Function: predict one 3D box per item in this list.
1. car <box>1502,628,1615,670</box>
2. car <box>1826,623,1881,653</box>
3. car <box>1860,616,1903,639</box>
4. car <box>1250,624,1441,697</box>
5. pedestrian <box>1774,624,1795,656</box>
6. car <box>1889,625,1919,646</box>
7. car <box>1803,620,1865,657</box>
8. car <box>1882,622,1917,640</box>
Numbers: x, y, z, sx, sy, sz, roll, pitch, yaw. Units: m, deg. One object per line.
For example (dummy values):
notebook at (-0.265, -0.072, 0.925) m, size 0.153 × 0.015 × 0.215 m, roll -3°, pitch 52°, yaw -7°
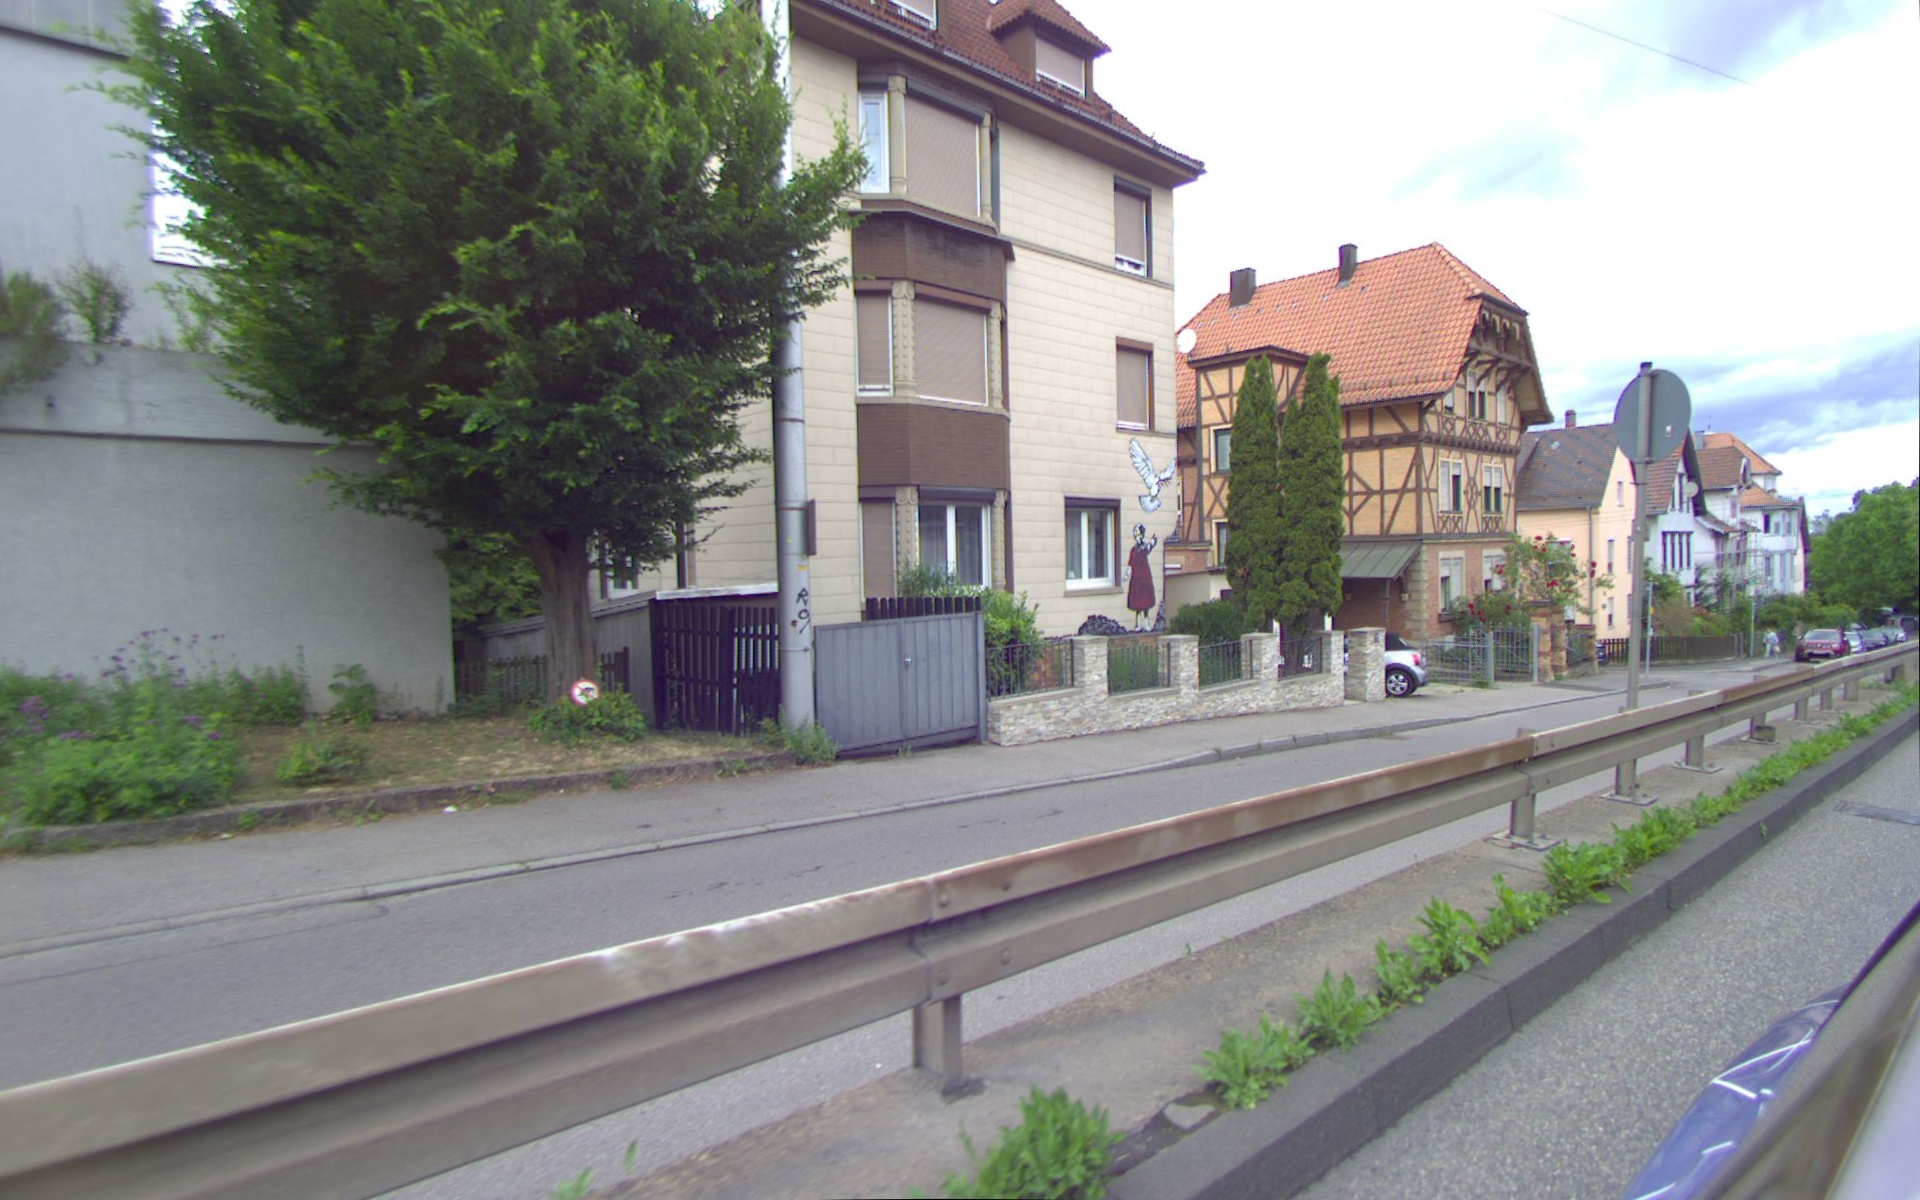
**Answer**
car at (24.593, 1.963, 41.653) m, size 3.785 × 1.583 × 1.522 m, roll 0°, pitch -1°, yaw 44°
car at (49.185, 2.052, 55.679) m, size 3.933 × 1.518 × 1.919 m, roll 1°, pitch -1°, yaw -44°
car at (60.698, 1.791, 66.624) m, size 3.933 × 1.379 × 1.847 m, roll 1°, pitch -1°, yaw -44°
car at (8.651, 1.368, 22.809) m, size 3.764 × 1.423 × 1.530 m, roll -5°, pitch -4°, yaw 30°
pedestrian at (39.536, 1.898, 48.526) m, size 0.683 × 1.490 × 0.712 m, roll 1°, pitch -1°, yaw -44°
car at (67.806, 2.507, 72.304) m, size 3.933 × 1.379 × 1.847 m, roll 1°, pitch -1°, yaw -44°
car at (42.428, 1.839, 49.098) m, size 3.933 × 1.672 × 1.919 m, roll 1°, pitch -1°, yaw -44°
car at (75.996, 2.510, 81.811) m, size 3.933 × 1.379 × 1.847 m, roll 1°, pitch -1°, yaw -44°
